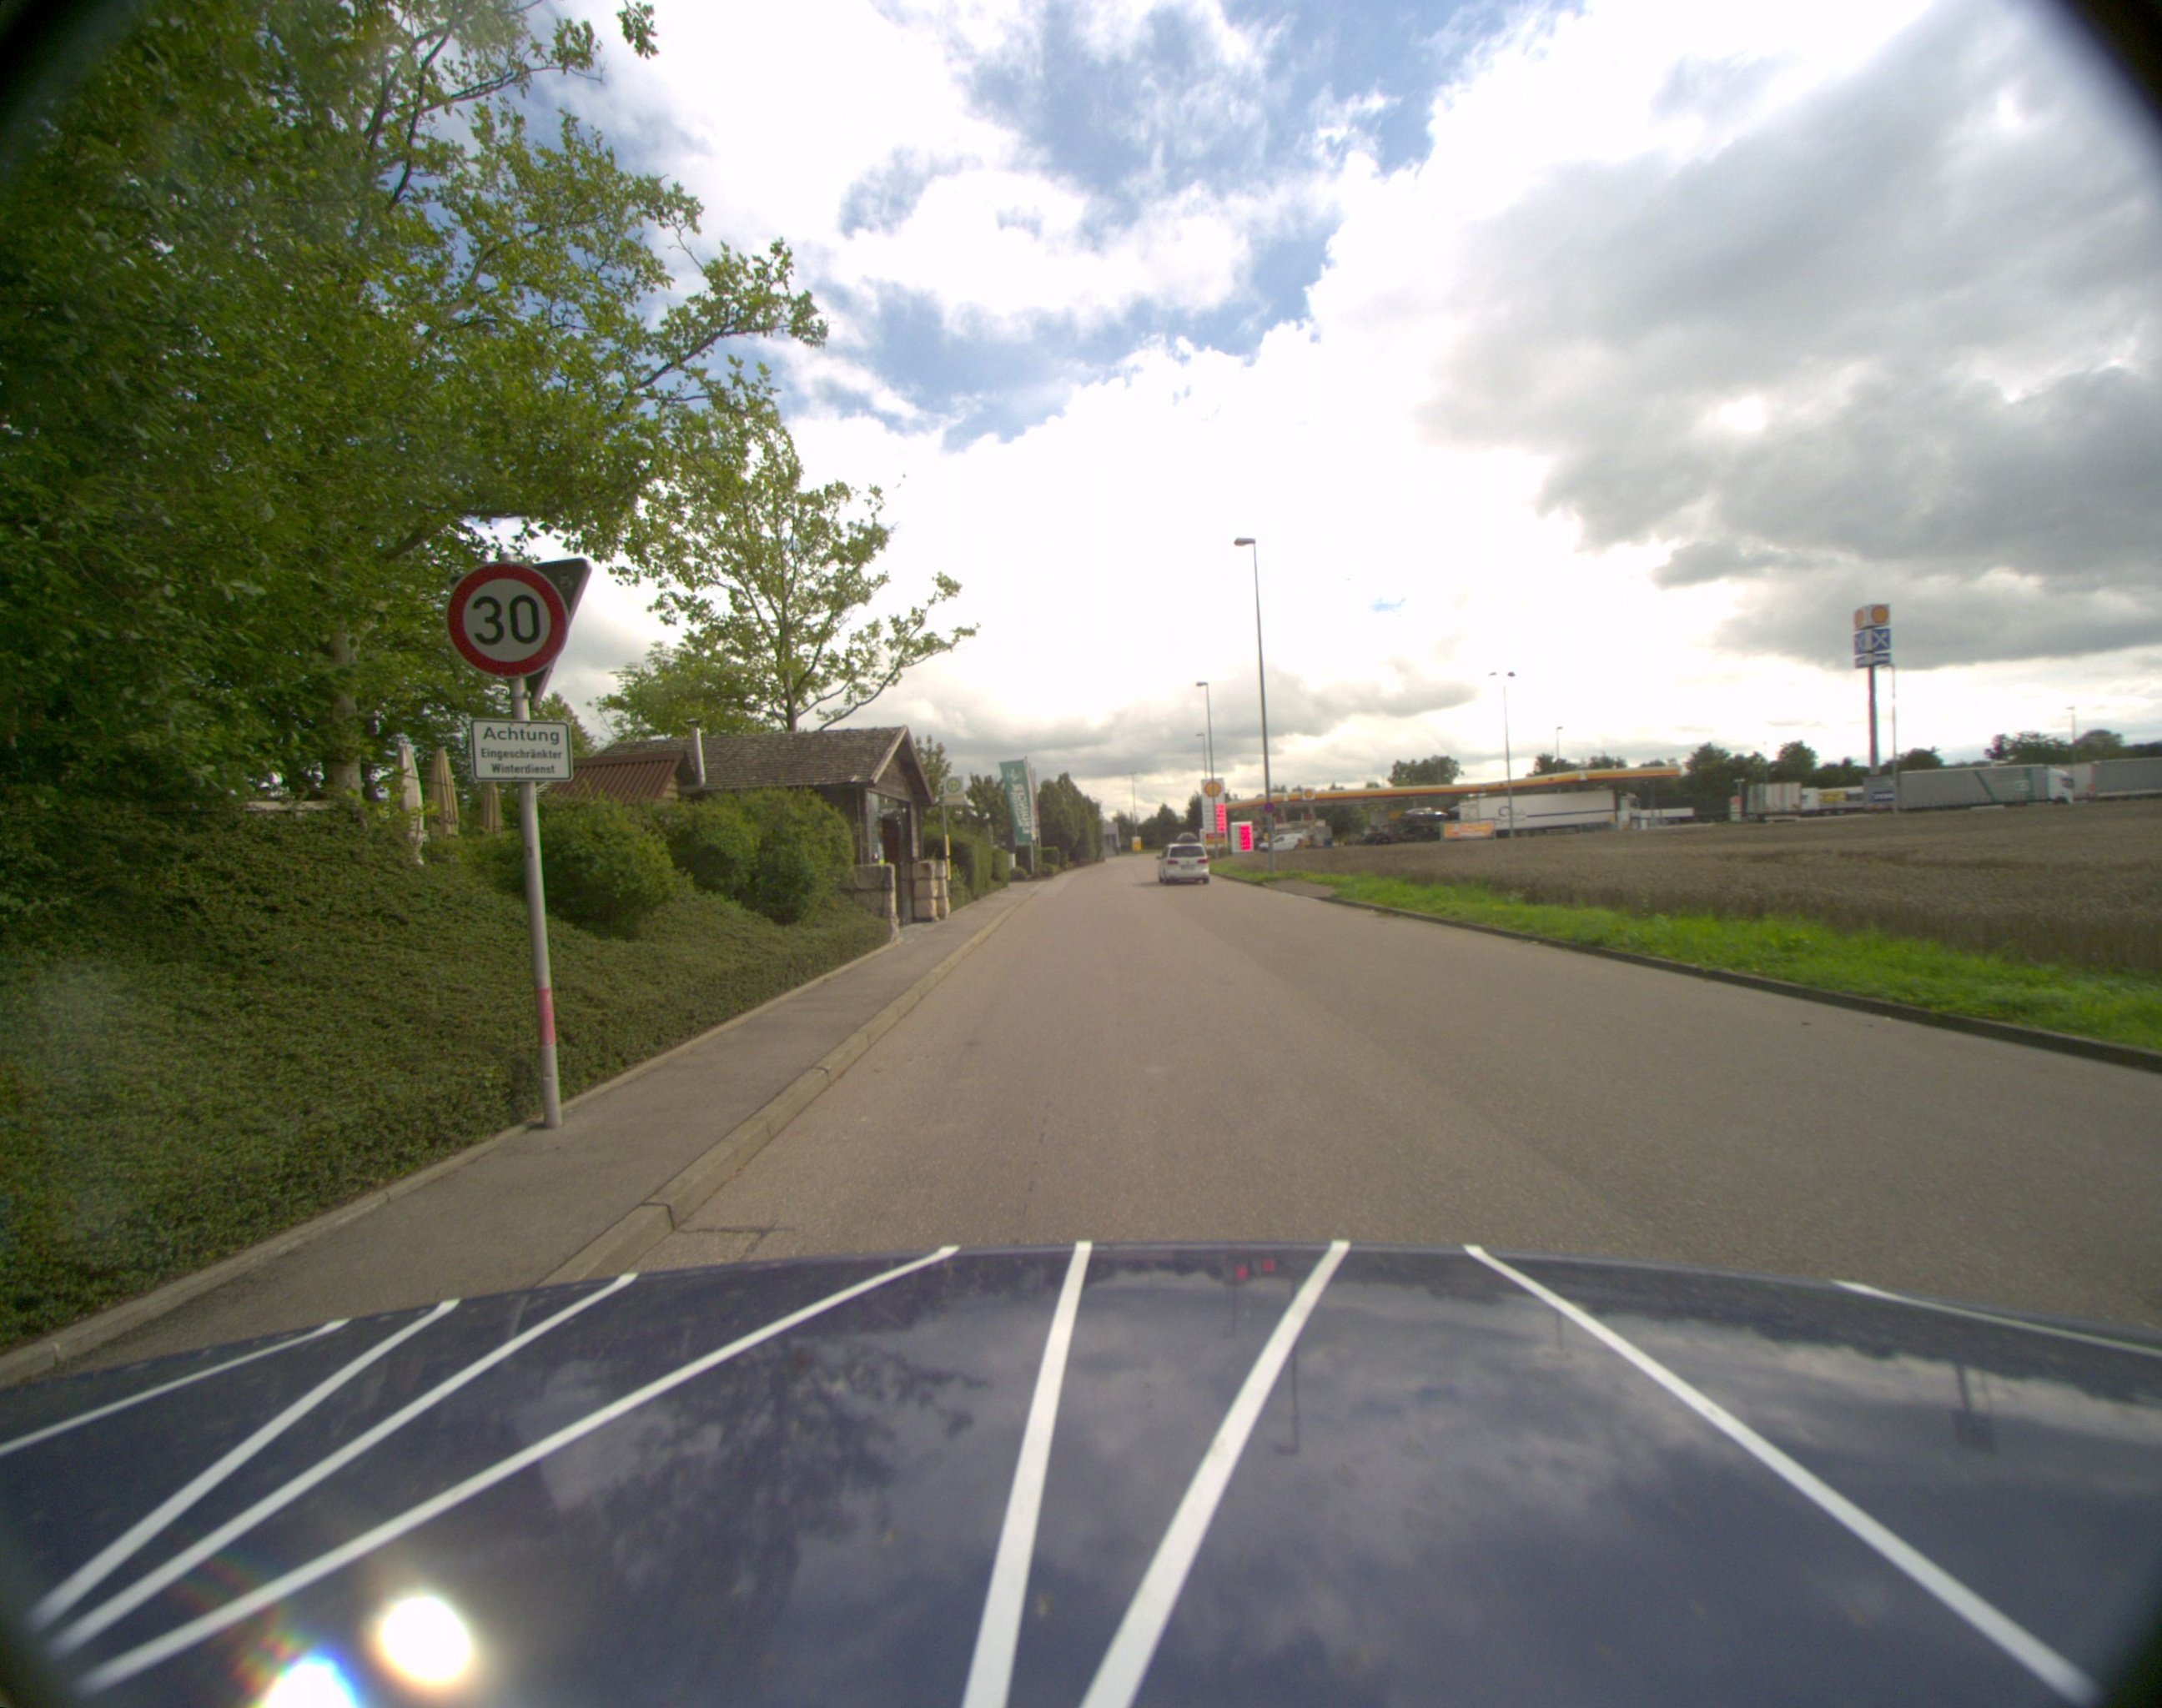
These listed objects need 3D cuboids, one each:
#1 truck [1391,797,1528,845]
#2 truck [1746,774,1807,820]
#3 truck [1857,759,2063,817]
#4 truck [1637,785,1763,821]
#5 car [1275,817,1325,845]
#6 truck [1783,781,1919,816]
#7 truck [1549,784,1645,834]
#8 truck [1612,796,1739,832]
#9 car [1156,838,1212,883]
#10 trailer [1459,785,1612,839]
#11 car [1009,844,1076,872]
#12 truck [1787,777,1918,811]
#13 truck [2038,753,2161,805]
[{"bbox_3d":[36.388,-3.167,72.933,13.265,3.902,2.748,-4,2,-16],"label":"truck"},{"bbox_3d":[70.374,-5.779,77.168,2.955,4.090,14.773,-2,2,37],"label":"truck"},{"bbox_3d":[72.556,-5.439,62.766,15.457,3.872,2.822,-3,2,-6],"label":"truck"},{"bbox_3d":[83.302,-6.846,102.721,12.978,3.872,2.829,-2,3,37],"label":"truck"},{"bbox_3d":[23.614,-2.483,81.908,5.818,2.771,2.219,-4,1,-40],"label":"car"},{"bbox_3d":[105.528,-7.599,104.577,12.774,3.872,2.829,-2,3,36],"label":"truck"},{"bbox_3d":[47.063,-4.100,69.378,7.168,4.002,2.710,-4,1,-8],"label":"truck"},{"bbox_3d":[77.109,-5.134,99.032,12.774,3.872,2.829,-2,3,36],"label":"truck"},{"bbox_3d":[4.181,0.219,31.260,1.703,1.655,4.031,-2,1,0],"label":"car"},{"bbox_3d":[40.908,-3.788,68.469,12.846,4.002,2.710,-4,1,-8],"label":"trailer"},{"bbox_3d":[-2.664,0.298,53.493,4.357,1.707,1.658,-3,1,9],"label":"car"},{"bbox_3d":[109.733,-8.478,108.501,12.774,3.872,2.829,-2,3,36],"label":"truck"},{"bbox_3d":[91.080,-6.675,65.799,15.460,3.872,2.821,-4,2,-8],"label":"truck"}]
